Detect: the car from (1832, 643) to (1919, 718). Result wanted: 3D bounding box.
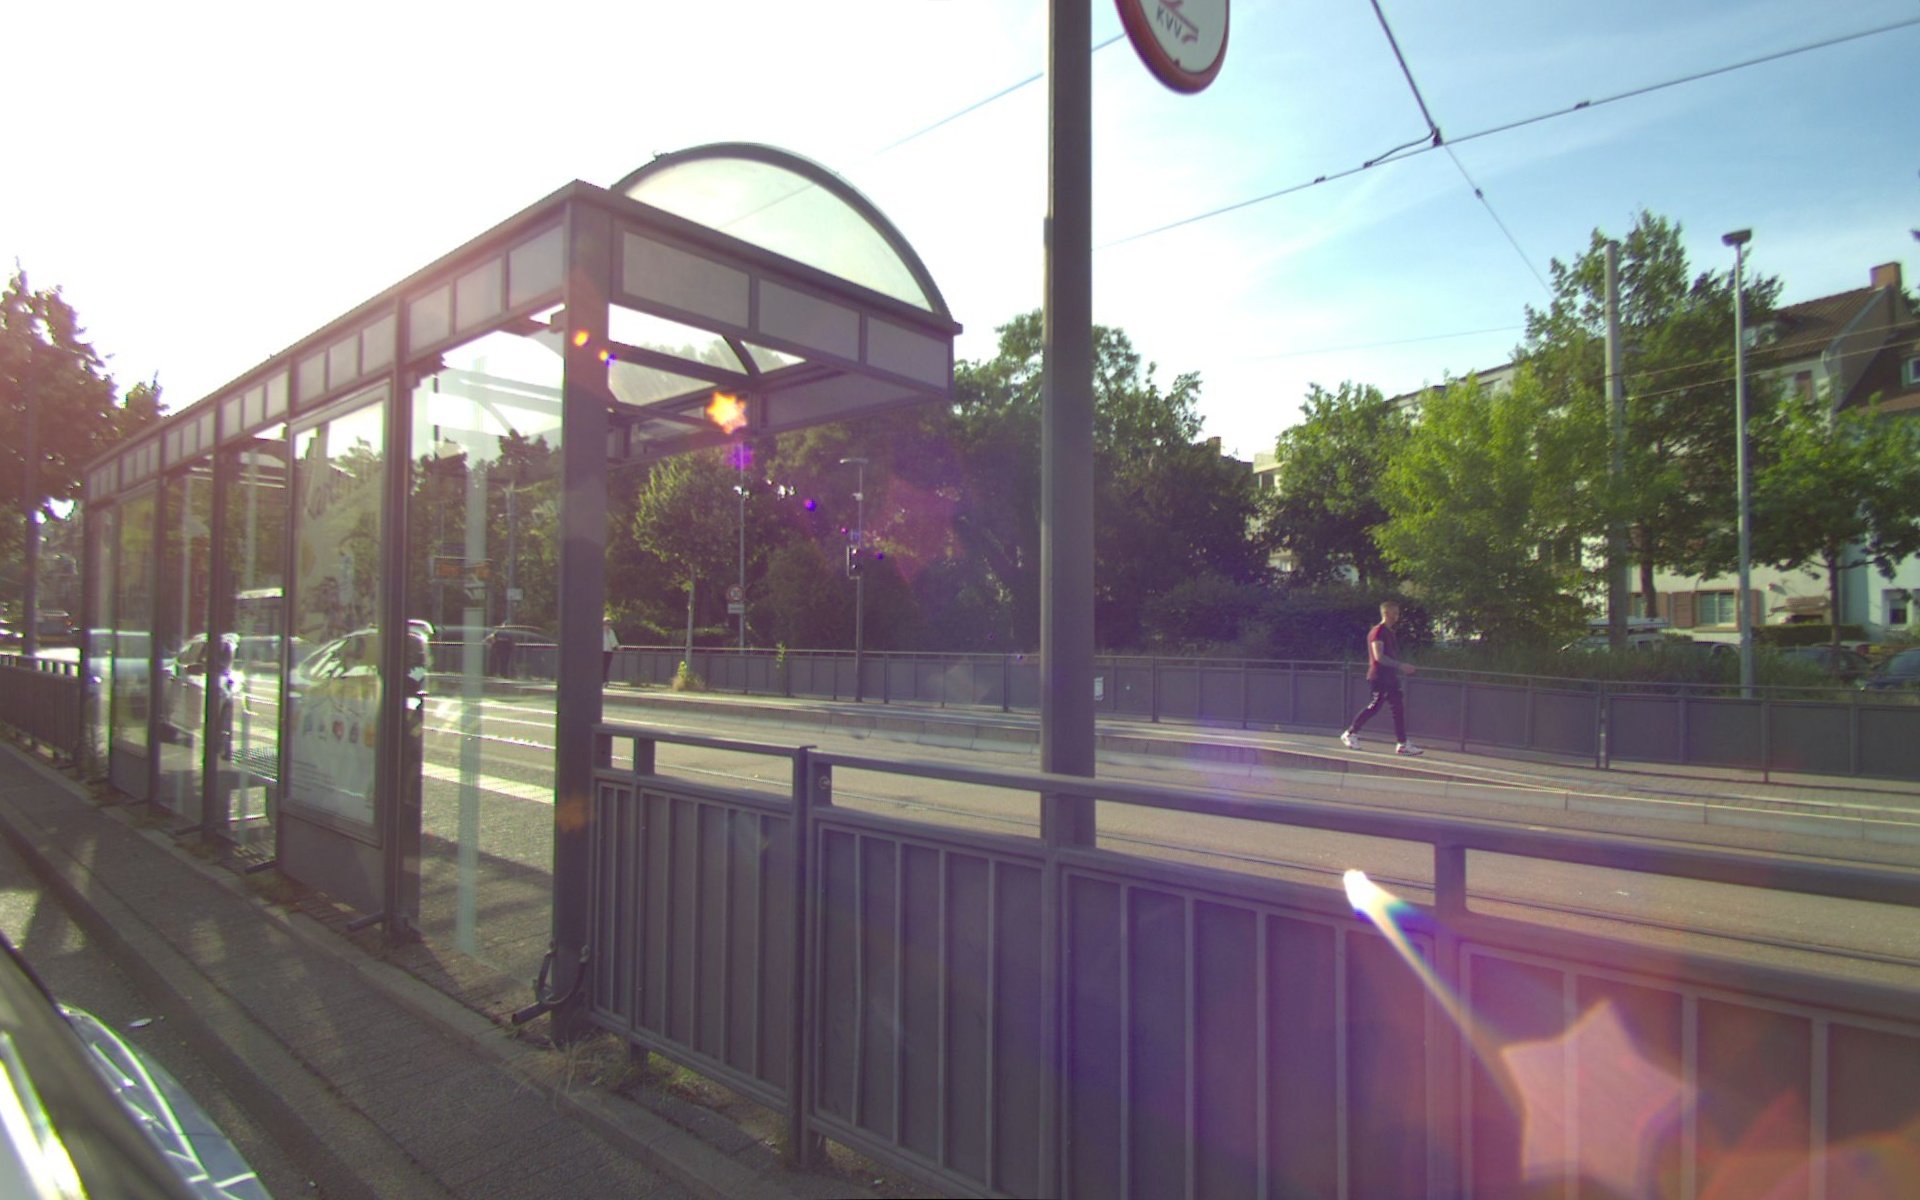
[{"bbox_3d":[19.627,1.601,20.617,3.935,1.409,2.004,2,-3,-37],"label":"car"}]

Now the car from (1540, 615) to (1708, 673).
[{"bbox_3d":[17.957,1.197,27.389,3.930,1.497,1.854,1,-3,-22],"label":"car"}]

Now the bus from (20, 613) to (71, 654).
[{"bbox_3d":[-81.854,2.959,90.514,9.258,3.461,2.405,-1,0,41],"label":"bus"}]

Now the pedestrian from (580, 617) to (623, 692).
[{"bbox_3d":[-8.338,1.260,23.537,0.618,1.697,0.613,-2,-6,41],"label":"pedestrian"}]

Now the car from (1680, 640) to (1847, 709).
[{"bbox_3d":[18.174,1.625,22.844,3.935,1.409,2.004,2,-3,-37],"label":"car"}]

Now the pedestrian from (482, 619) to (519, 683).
[{"bbox_3d":[-12.689,1.410,27.939,0.618,1.697,0.613,-2,-6,41],"label":"pedestrian"}]

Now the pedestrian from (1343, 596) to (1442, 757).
[{"bbox_3d":[4.776,0.837,11.170,0.877,1.697,0.547,-2,-6,41],"label":"pedestrian"}]

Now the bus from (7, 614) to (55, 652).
[{"bbox_3d":[-88.791,3.109,96.664,9.258,3.461,2.405,-1,0,41],"label":"bus"}]

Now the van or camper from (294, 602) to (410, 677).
[{"bbox_3d":[-26.403,1.639,43.811,6.408,2.990,2.494,-1,0,41],"label":"van or camper"}]
